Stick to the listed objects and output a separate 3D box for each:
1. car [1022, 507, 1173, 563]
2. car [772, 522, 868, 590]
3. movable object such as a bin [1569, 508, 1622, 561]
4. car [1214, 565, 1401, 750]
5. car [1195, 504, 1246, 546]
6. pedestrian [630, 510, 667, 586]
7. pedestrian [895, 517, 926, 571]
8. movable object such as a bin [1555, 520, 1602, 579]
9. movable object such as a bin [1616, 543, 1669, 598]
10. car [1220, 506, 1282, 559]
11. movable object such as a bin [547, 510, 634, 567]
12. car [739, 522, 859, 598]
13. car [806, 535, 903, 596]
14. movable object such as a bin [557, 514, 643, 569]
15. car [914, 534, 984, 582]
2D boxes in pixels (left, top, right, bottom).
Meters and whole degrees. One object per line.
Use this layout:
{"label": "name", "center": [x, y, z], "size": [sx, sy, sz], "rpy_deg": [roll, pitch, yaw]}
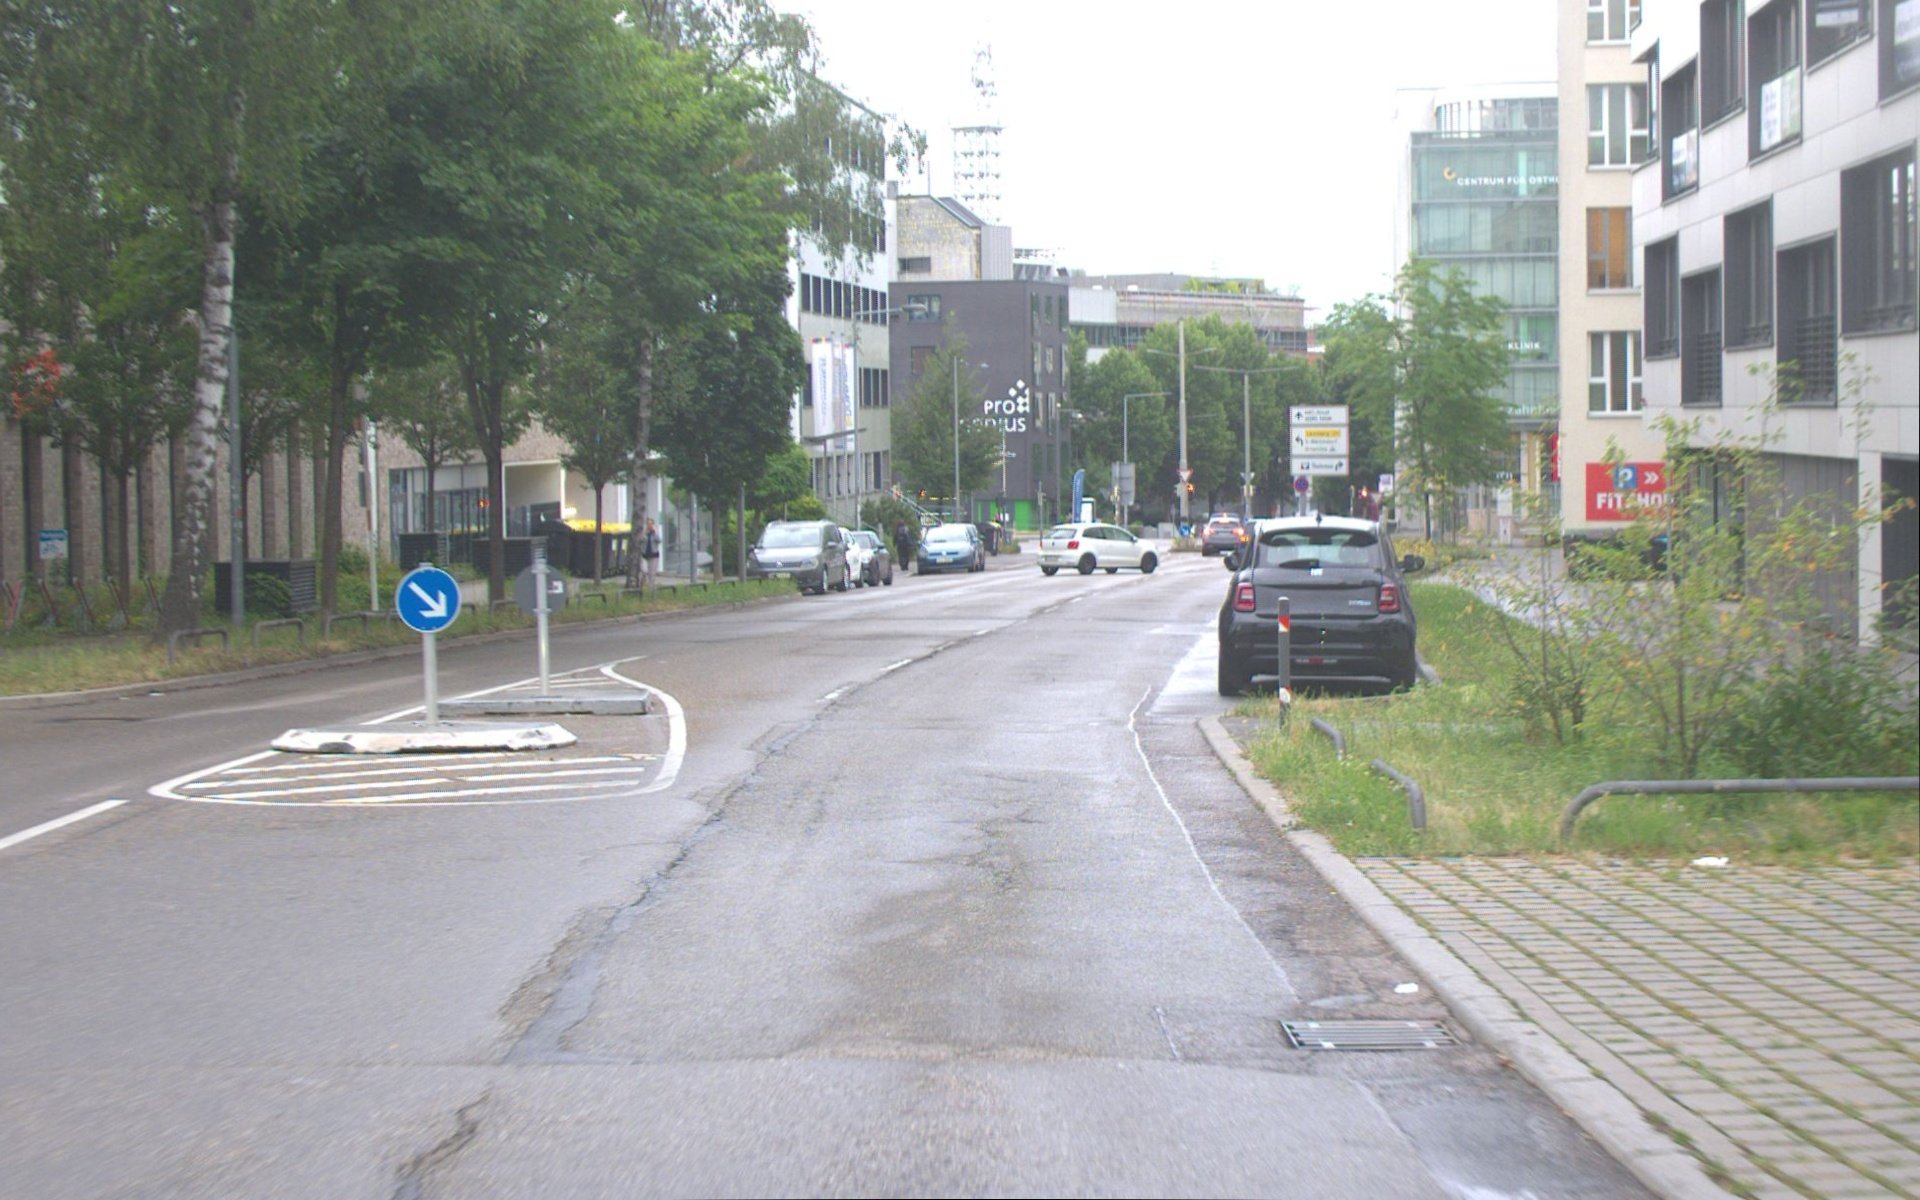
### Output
{"label": "car", "center": [3.926, -1.864, 97.990], "size": [3.984, 1.571, 1.999], "rpy_deg": [-1, 2, -39]}
{"label": "car", "center": [-3.336, -1.077, 82.791], "size": [1.773, 1.595, 4.031], "rpy_deg": [0, 1, 6]}
{"label": "movable object such as a bin", "center": [16.015, -1.642, 86.663], "size": [1.235, 1.315, 1.191], "rpy_deg": [-1, 0, 8]}
{"label": "car", "center": [3.126, 0.465, 30.605], "size": [1.546, 1.473, 3.660], "rpy_deg": [0, 2, 7]}
{"label": "car", "center": [11.164, -3.205, 147.414], "size": [2.142, 1.722, 3.999], "rpy_deg": [0, 0, 4]}
{"label": "pedestrian", "center": [-6.920, -1.155, 76.444], "size": [0.708, 1.677, 0.956], "rpy_deg": [0, 1, 2]}
{"label": "pedestrian", "center": [-1.597, -1.806, 111.044], "size": [0.728, 1.703, 0.904], "rpy_deg": [-1, 0, -21]}
{"label": "movable object such as a bin", "center": [15.952, -1.306, 88.638], "size": [1.174, 1.498, 1.013], "rpy_deg": [0, 1, 9]}
{"label": "movable object such as a bin", "center": [17.342, -0.751, 87.419], "size": [1.261, 1.398, 1.112], "rpy_deg": [0, 1, 8]}
{"label": "car", "center": [9.686, -2.241, 114.239], "size": [1.994, 1.744, 3.672], "rpy_deg": [0, 1, 6]}
{"label": "movable object such as a bin", "center": [-9.561, -1.591, 89.031], "size": [2.027, 1.425, 1.290], "rpy_deg": [2, 1, 3]}
{"label": "car", "center": [-3.586, -0.930, 77.539], "size": [2.078, 1.603, 4.685], "rpy_deg": [-1, 1, 5]}
{"label": "car", "center": [-2.654, -0.870, 87.476], "size": [1.797, 1.511, 4.244], "rpy_deg": [0, 0, 8]}
{"label": "movable object such as a bin", "center": [-9.441, -1.539, 90.319], "size": [2.054, 1.418, 1.317], "rpy_deg": [1, 1, 3]}
{"label": "car", "center": [-0.321, -1.294, 106.933], "size": [1.914, 1.476, 4.356], "rpy_deg": [0, 0, 3]}
